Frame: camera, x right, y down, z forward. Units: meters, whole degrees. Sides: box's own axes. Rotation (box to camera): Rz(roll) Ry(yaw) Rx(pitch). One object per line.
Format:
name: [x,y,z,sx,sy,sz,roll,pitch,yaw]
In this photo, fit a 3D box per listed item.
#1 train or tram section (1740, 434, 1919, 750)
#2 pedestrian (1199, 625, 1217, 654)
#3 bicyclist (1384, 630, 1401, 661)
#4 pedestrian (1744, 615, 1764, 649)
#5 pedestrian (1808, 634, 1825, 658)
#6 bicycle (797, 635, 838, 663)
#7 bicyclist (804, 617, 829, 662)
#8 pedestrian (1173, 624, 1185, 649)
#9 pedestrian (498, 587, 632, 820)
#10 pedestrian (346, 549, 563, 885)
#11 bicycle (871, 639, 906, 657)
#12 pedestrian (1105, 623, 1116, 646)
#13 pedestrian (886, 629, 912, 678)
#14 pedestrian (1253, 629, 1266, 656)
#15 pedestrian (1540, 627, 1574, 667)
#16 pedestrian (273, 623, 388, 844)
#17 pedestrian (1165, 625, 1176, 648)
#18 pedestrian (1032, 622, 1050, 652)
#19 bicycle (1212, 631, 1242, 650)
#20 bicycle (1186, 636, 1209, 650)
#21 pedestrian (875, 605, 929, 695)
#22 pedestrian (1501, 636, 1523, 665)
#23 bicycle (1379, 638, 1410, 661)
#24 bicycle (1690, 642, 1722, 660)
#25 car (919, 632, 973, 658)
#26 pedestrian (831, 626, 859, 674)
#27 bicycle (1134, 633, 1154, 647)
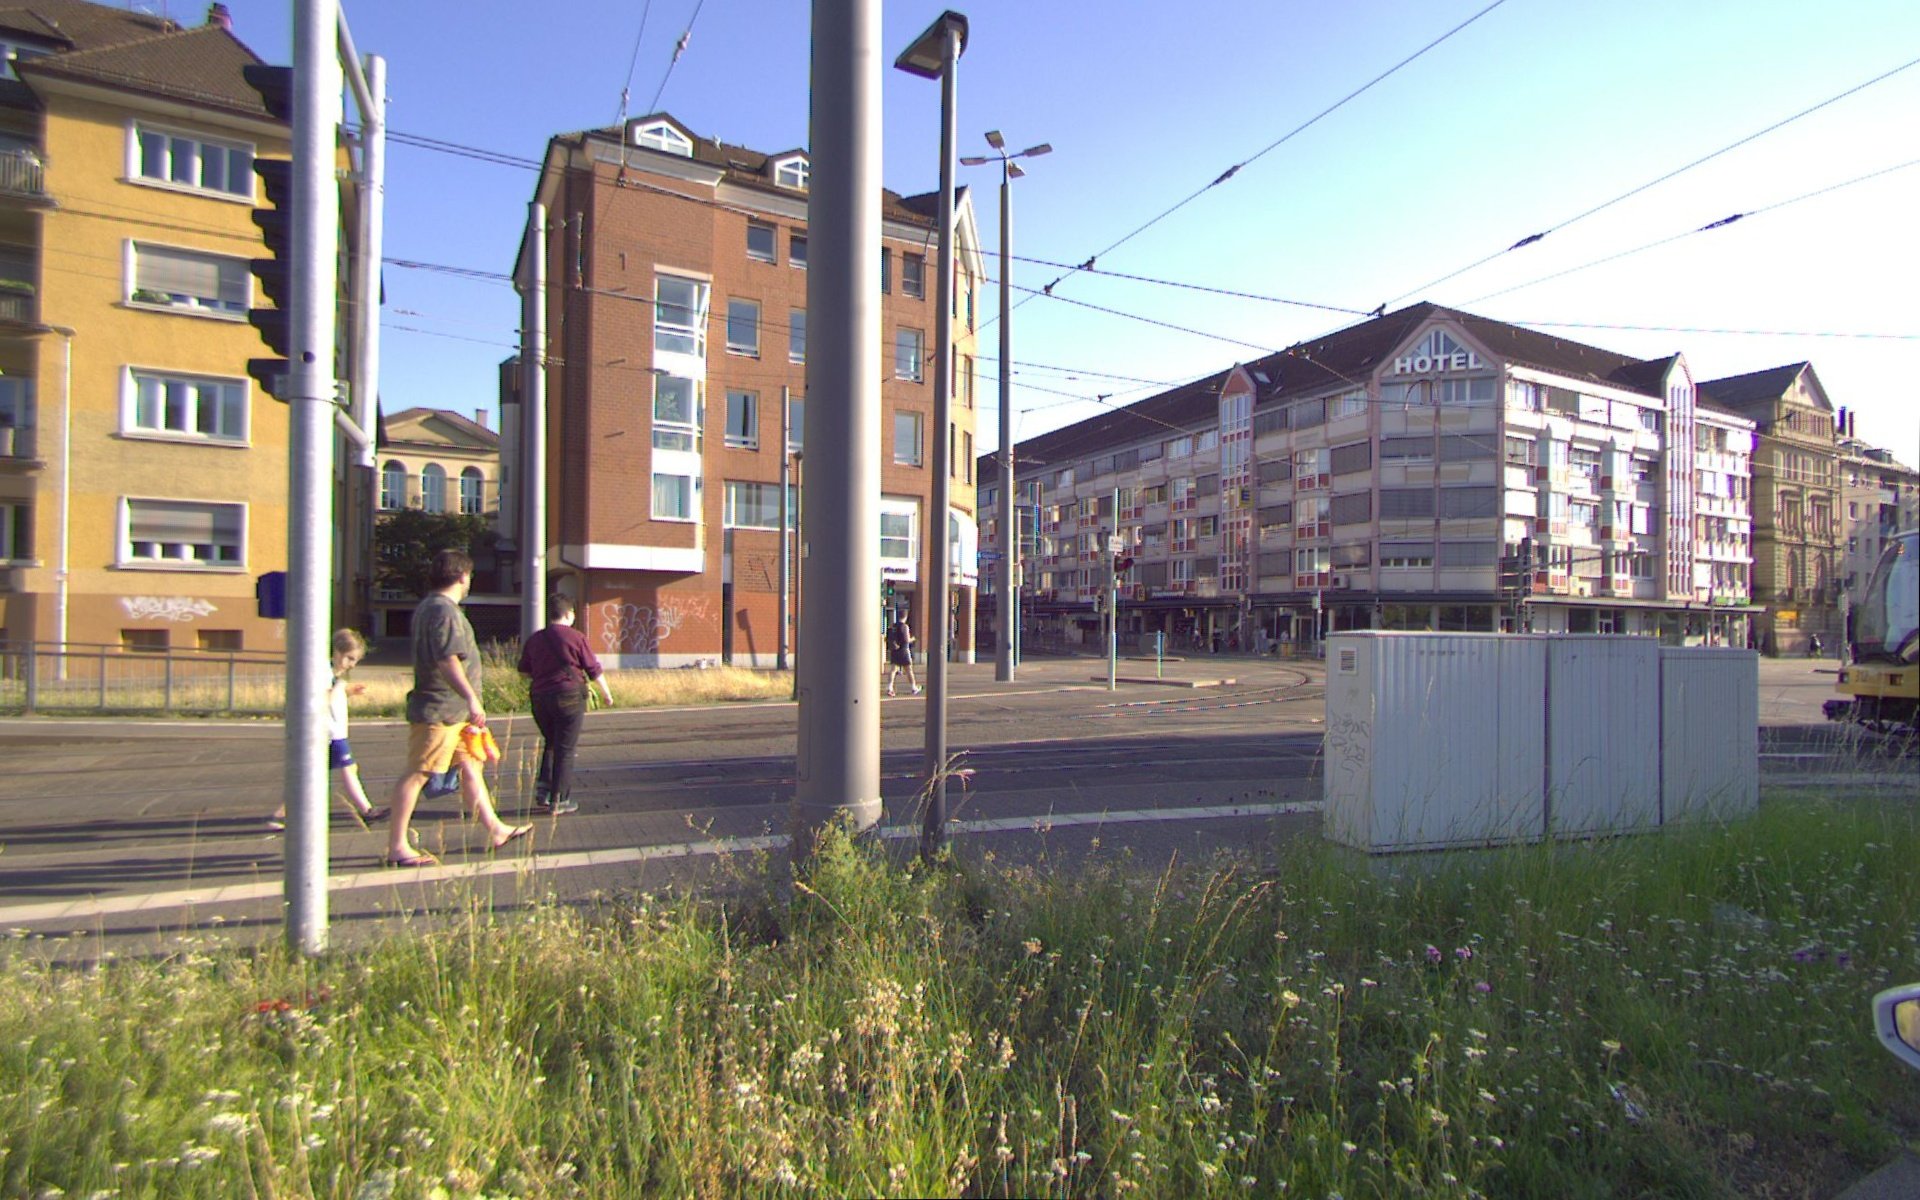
train or tram section: [18.148,0.004,12.302,13.093,3.884,3.717,0,-2,17]
pedestrian: [14.650,2.318,59.339,0.773,1.682,0.677,2,0,-35]
bicyclist: [24.085,2.528,55.914,0.649,1.618,0.636,-1,1,-26]
pedestrian: [57.783,2.298,73.127,0.953,2.430,0.918,2,0,-40]
pedestrian: [60.646,3.254,71.109,0.715,1.717,0.692,2,0,-30]
bicycle: [-4.986,1.712,35.069,1.351,0.929,0.430,2,0,-34]
bicyclist: [-5.007,1.381,35.048,0.722,1.564,0.430,2,0,-34]
pedestrian: [16.683,2.745,76.427,0.601,1.877,0.601,2,0,-20]
pedestrian: [-2.915,0.723,7.403,0.780,1.609,0.602,2,0,-34]
pedestrian: [-2.855,0.631,5.775,0.884,1.781,0.775,2,0,-10]
bicycle: [-3.908,2.617,55.023,1.813,0.974,0.540,1,1,-27]
pedestrian: [12.568,2.879,83.848,0.804,1.802,0.680,2,0,0]
pedestrian: [-2.066,1.797,34.113,0.825,1.605,0.683,2,0,-3]
pedestrian: [19.416,2.726,65.144,0.612,1.717,0.866,2,0,29]
pedestrian: [31.364,2.471,52.771,0.847,1.909,1.187,-12,7,-33]
pedestrian: [-4.187,0.858,6.710,0.601,1.378,0.591,1,-3,-32]
pedestrian: [16.042,2.776,76.560,0.601,1.656,0.602,2,-6,-18]
pedestrian: [4.731,2.161,58.892,0.770,1.682,0.680,2,0,-23]
bicycle: [18.464,2.786,69.589,0.720,1.243,2.319,2,-2,-24]
bicycle: [17.095,3.110,72.273,0.494,0.929,2.066,2,-2,-24]
pedestrian: [-1.189,1.015,20.661,0.824,1.781,0.687,2,0,-44]
pedestrian: [29.037,2.634,52.858,0.847,1.472,0.700,2,0,-34]
bicycle: [24.208,2.755,55.981,1.746,1.160,0.636,-1,1,-27]
bicycle: [48.495,3.295,65.275,2.056,1.085,0.451,2,0,-13]
car: [-0.833,2.570,57.527,1.725,1.261,3.916,2,0,-22]
pedestrian: [-3.960,1.698,34.487,0.828,1.605,0.681,2,0,-16]
bicycle: [14.637,3.175,79.844,1.630,1.134,0.480,2,0,-30]
